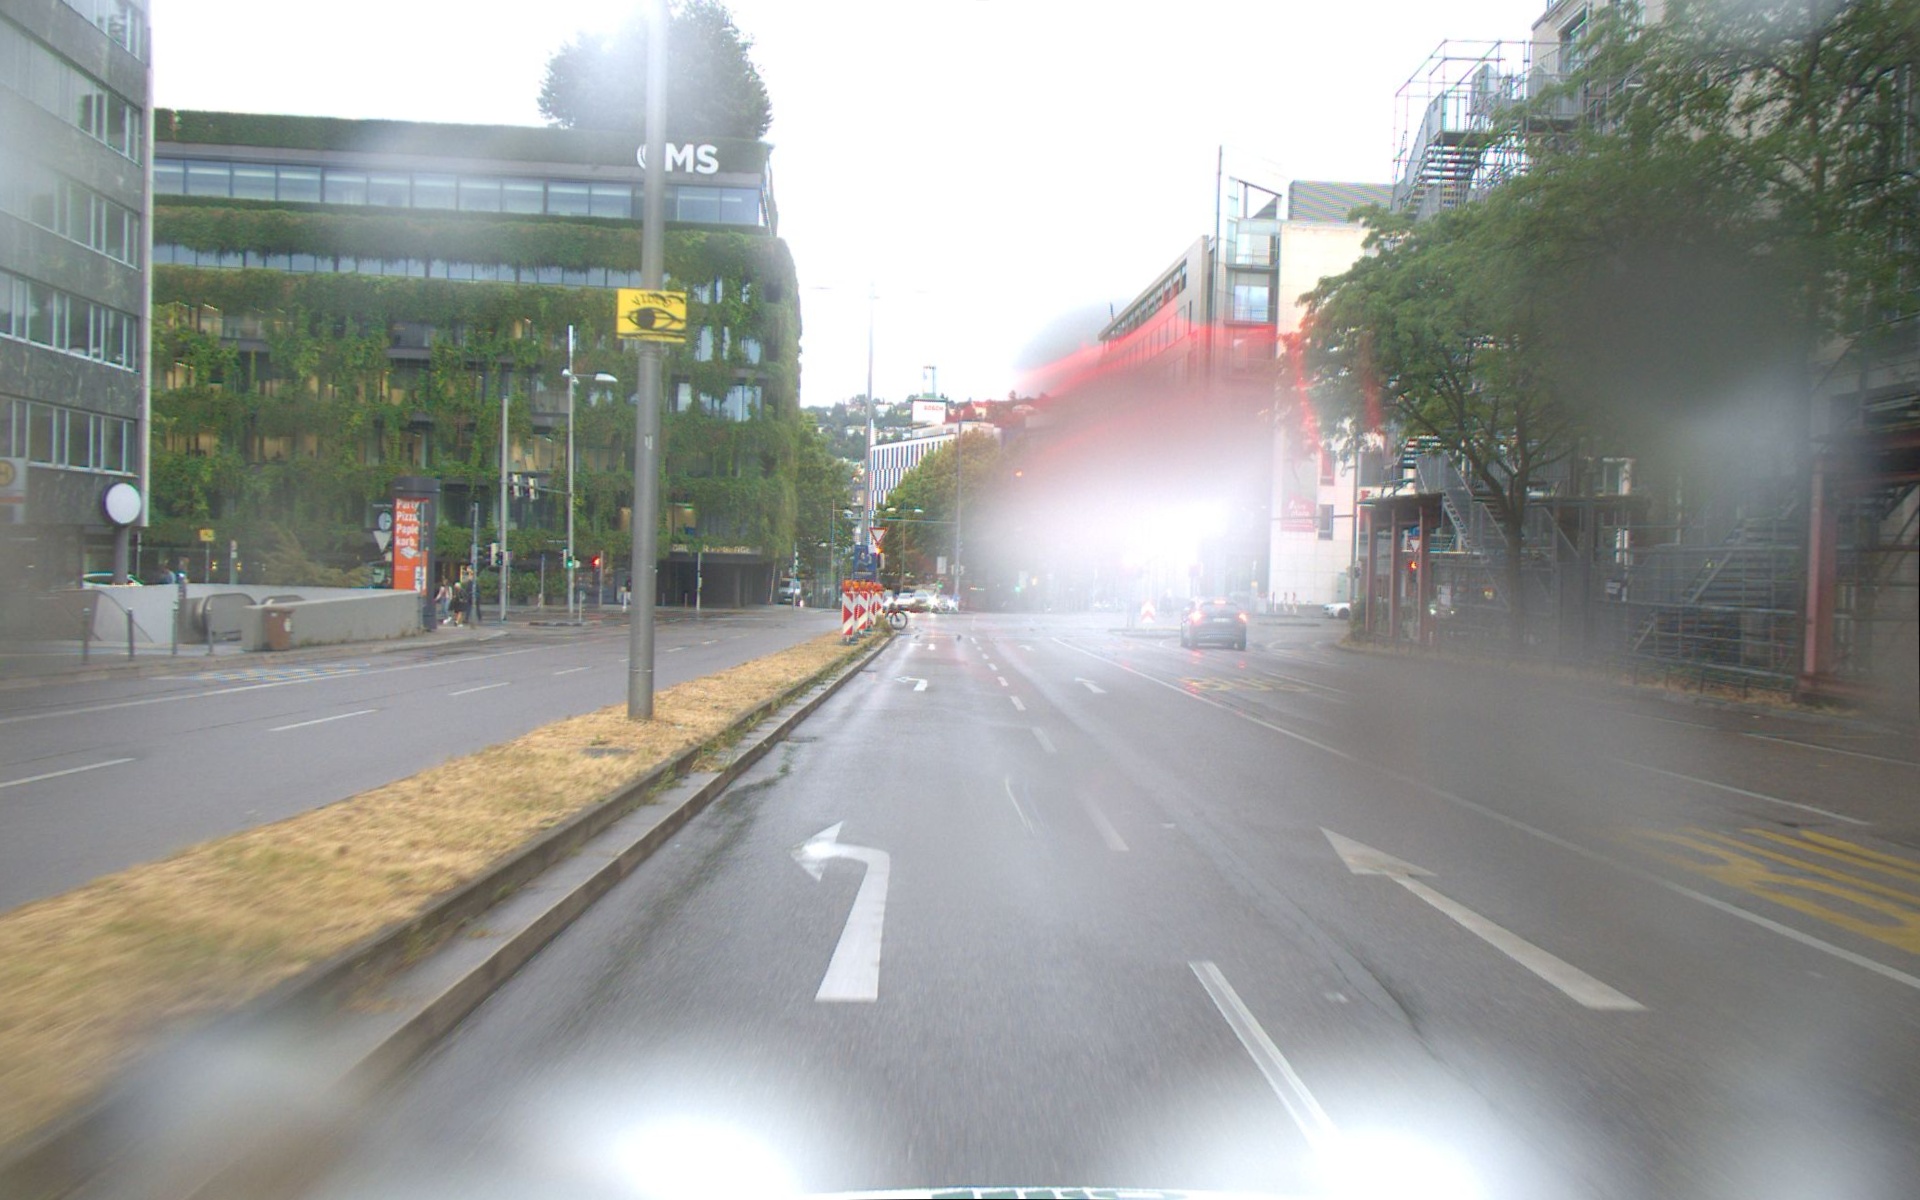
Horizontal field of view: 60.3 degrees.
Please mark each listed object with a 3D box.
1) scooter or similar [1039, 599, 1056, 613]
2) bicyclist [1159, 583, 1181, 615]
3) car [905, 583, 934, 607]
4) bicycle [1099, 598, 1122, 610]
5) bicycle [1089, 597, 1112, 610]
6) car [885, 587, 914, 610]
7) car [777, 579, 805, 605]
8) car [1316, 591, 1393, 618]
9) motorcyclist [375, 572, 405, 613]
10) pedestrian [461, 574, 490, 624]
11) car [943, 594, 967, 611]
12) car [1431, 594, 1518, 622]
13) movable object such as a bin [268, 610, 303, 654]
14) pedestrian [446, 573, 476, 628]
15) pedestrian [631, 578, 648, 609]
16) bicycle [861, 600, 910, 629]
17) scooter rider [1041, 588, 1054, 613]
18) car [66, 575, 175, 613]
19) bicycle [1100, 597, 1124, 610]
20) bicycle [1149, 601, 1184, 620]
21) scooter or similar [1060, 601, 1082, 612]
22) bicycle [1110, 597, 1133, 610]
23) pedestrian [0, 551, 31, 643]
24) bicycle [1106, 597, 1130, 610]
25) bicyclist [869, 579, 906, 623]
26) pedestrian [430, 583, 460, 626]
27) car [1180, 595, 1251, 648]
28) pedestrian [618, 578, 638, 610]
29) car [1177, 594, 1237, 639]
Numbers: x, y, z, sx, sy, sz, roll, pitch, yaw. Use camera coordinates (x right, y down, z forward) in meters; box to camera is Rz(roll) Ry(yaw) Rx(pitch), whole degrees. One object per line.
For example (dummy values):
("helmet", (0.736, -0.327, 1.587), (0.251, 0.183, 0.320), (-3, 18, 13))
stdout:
("scooter or similar", (6.420, 0.427, 121.077), (0.548, 1.024, 1.813), (0, 0, -20))
("bicyclist", (13.290, -0.084, 104.684), (0.787, 2.009, 1.098), (1, 0, -41))
("car", (-2.821, -0.349, 114.012), (1.953, 1.577, 4.553), (1, 0, -2))
("bicycle", (11.529, 0.297, 126.558), (1.757, 0.950, 0.475), (1, 0, 2))
("bicycle", (10.898, 0.289, 128.401), (1.757, 0.950, 0.475), (1, 0, 2))
("car", (-5.130, -0.147, 140.148), (2.133, 1.855, 4.638), (1, 0, -6))
("car", (-12.621, -0.616, 123.791), (1.954, 1.928, 4.461), (1, 0, -5))
("car", (25.039, 0.288, 105.039), (4.377, 1.626, 1.992), (1, 0, -16))
("motorcyclist", (-24.386, -0.307, 70.752), (1.166, 1.732, 0.844), (1, 0, -17))
("pedestrian", (-19.003, -0.056, 64.932), (0.768, 1.918, 0.898), (-3, 0, -1))
("car", (-0.452, 0.211, 151.403), (1.954, 1.469, 4.553), (0, 1, -4))
("car", (28.764, 0.449, 92.489), (4.374, 1.489, 1.717), (1, 0, -13))
("movable object such as a bin", (-14.232, 0.669, 34.913), (0.521, 0.913, 0.681), (-1, 0, -10))
("pedestrian", (-17.913, -0.002, 59.431), (0.790, 1.918, 0.865), (-3, 0, -7))
("pedestrian", (-18.418, -0.388, 95.129), (0.731, 1.788, 0.969), (1, 0, -24))
("bicycle", (-2.941, 0.583, 65.608), (0.831, 1.122, 2.146), (1, 0, 34))
("scooter rider", (6.408, 0.042, 121.109), (0.751, 1.805, 0.791), (0, 0, -20))
("car", (-35.993, -0.258, 71.010), (3.824, 1.550, 1.865), (1, 0, -14))
("bicycle", (11.022, 0.269, 119.873), (1.768, 0.950, 0.473), (1, 0, 41))
("bicycle", (13.104, 0.653, 104.908), (0.786, 1.136, 2.222), (1, 0, -41))
("scooter or similar", (9.070, 0.515, 135.487), (1.720, 0.894, 0.486), (0, 0, -20))
("bicycle", (11.774, 0.273, 120.520), (1.768, 0.950, 0.473), (1, 0, 41))
("pedestrian", (-20.175, -0.076, 34.925), (0.676, 1.918, 0.757), (1, 0, -5))
("bicycle", (11.607, 0.271, 121.485), (1.768, 0.950, 0.473), (1, 0, 41))
("bicyclist", (-2.870, 0.038, 65.655), (0.831, 1.733, 1.294), (1, 0, 36))
("pedestrian", (-20.162, 0.166, 64.804), (0.814, 1.612, 0.922), (-3, 0, -1))
("car", (8.092, 0.647, 52.697), (1.741, 1.567, 4.148), (1, 0, 2))
("pedestrian", (-19.051, -0.353, 94.882), (0.923, 1.788, 1.163), (1, 0, -24))
("car", (8.968, 0.564, 59.853), (1.667, 1.556, 4.430), (1, 0, 15))
